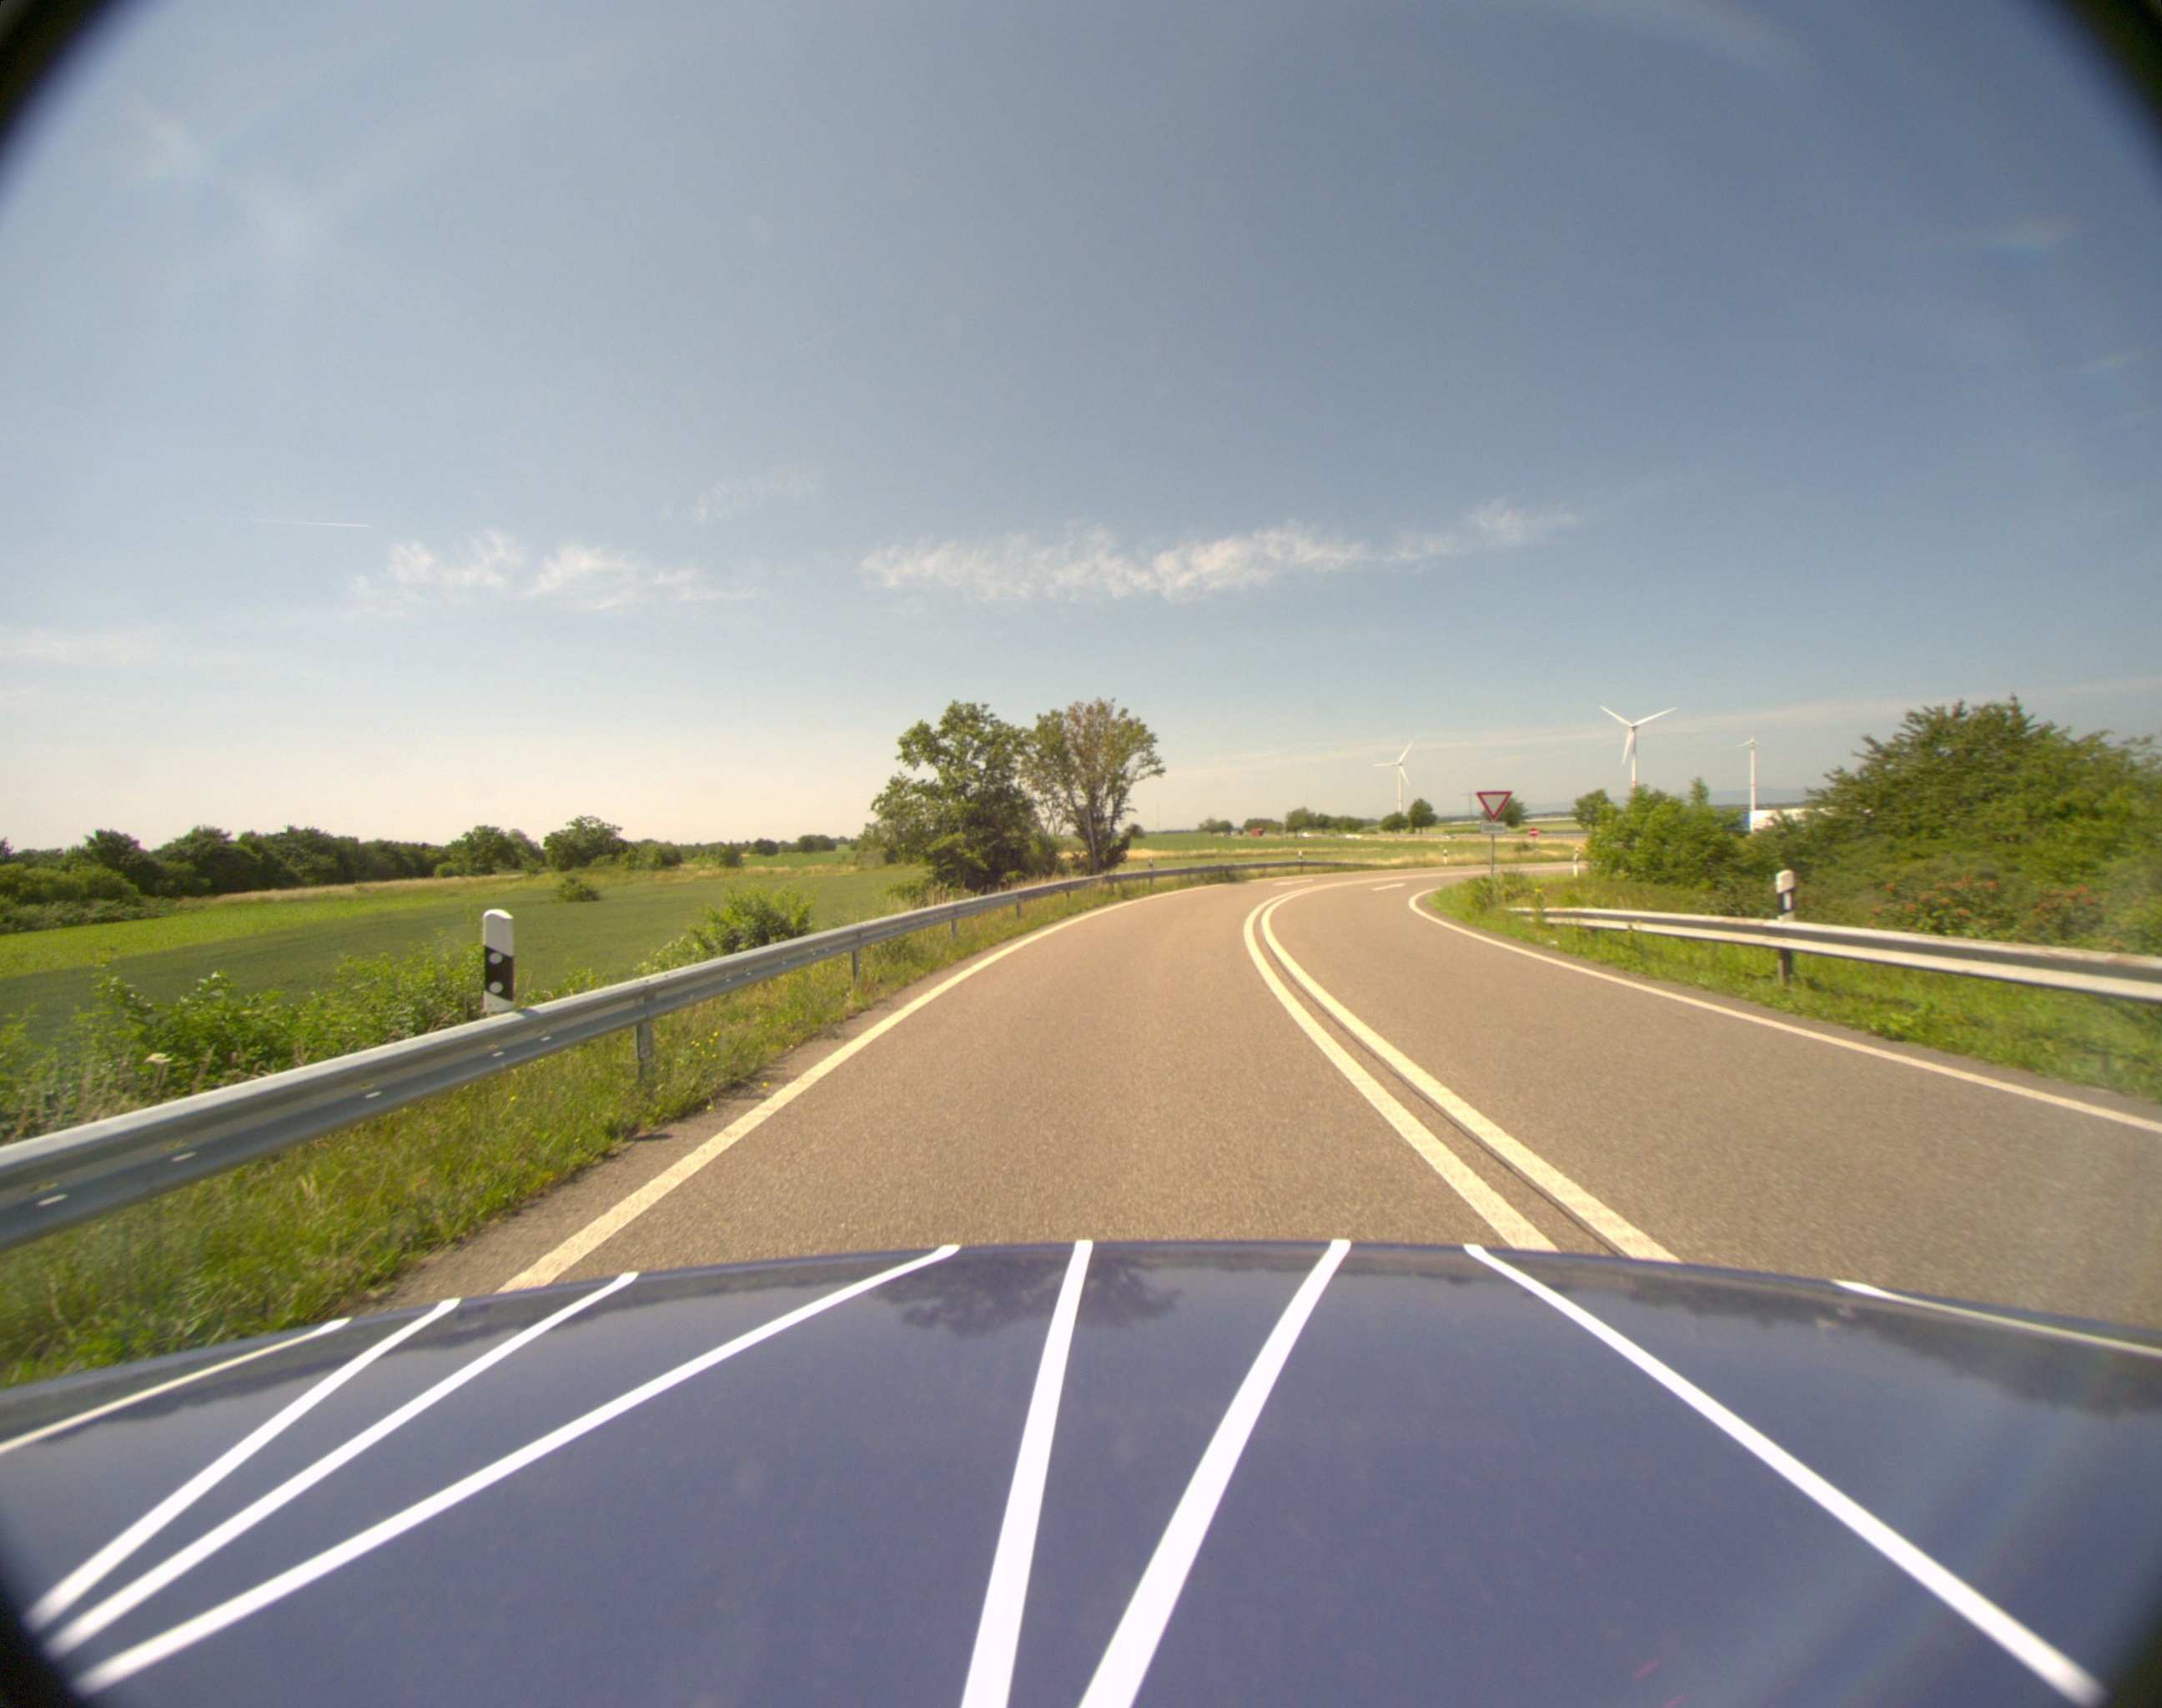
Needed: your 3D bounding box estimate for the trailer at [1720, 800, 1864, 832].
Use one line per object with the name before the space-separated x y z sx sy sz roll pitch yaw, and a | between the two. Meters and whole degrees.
trailer | 86.619 -4.525 93.325 3.102 3.624 14.502 -1 2 -5
